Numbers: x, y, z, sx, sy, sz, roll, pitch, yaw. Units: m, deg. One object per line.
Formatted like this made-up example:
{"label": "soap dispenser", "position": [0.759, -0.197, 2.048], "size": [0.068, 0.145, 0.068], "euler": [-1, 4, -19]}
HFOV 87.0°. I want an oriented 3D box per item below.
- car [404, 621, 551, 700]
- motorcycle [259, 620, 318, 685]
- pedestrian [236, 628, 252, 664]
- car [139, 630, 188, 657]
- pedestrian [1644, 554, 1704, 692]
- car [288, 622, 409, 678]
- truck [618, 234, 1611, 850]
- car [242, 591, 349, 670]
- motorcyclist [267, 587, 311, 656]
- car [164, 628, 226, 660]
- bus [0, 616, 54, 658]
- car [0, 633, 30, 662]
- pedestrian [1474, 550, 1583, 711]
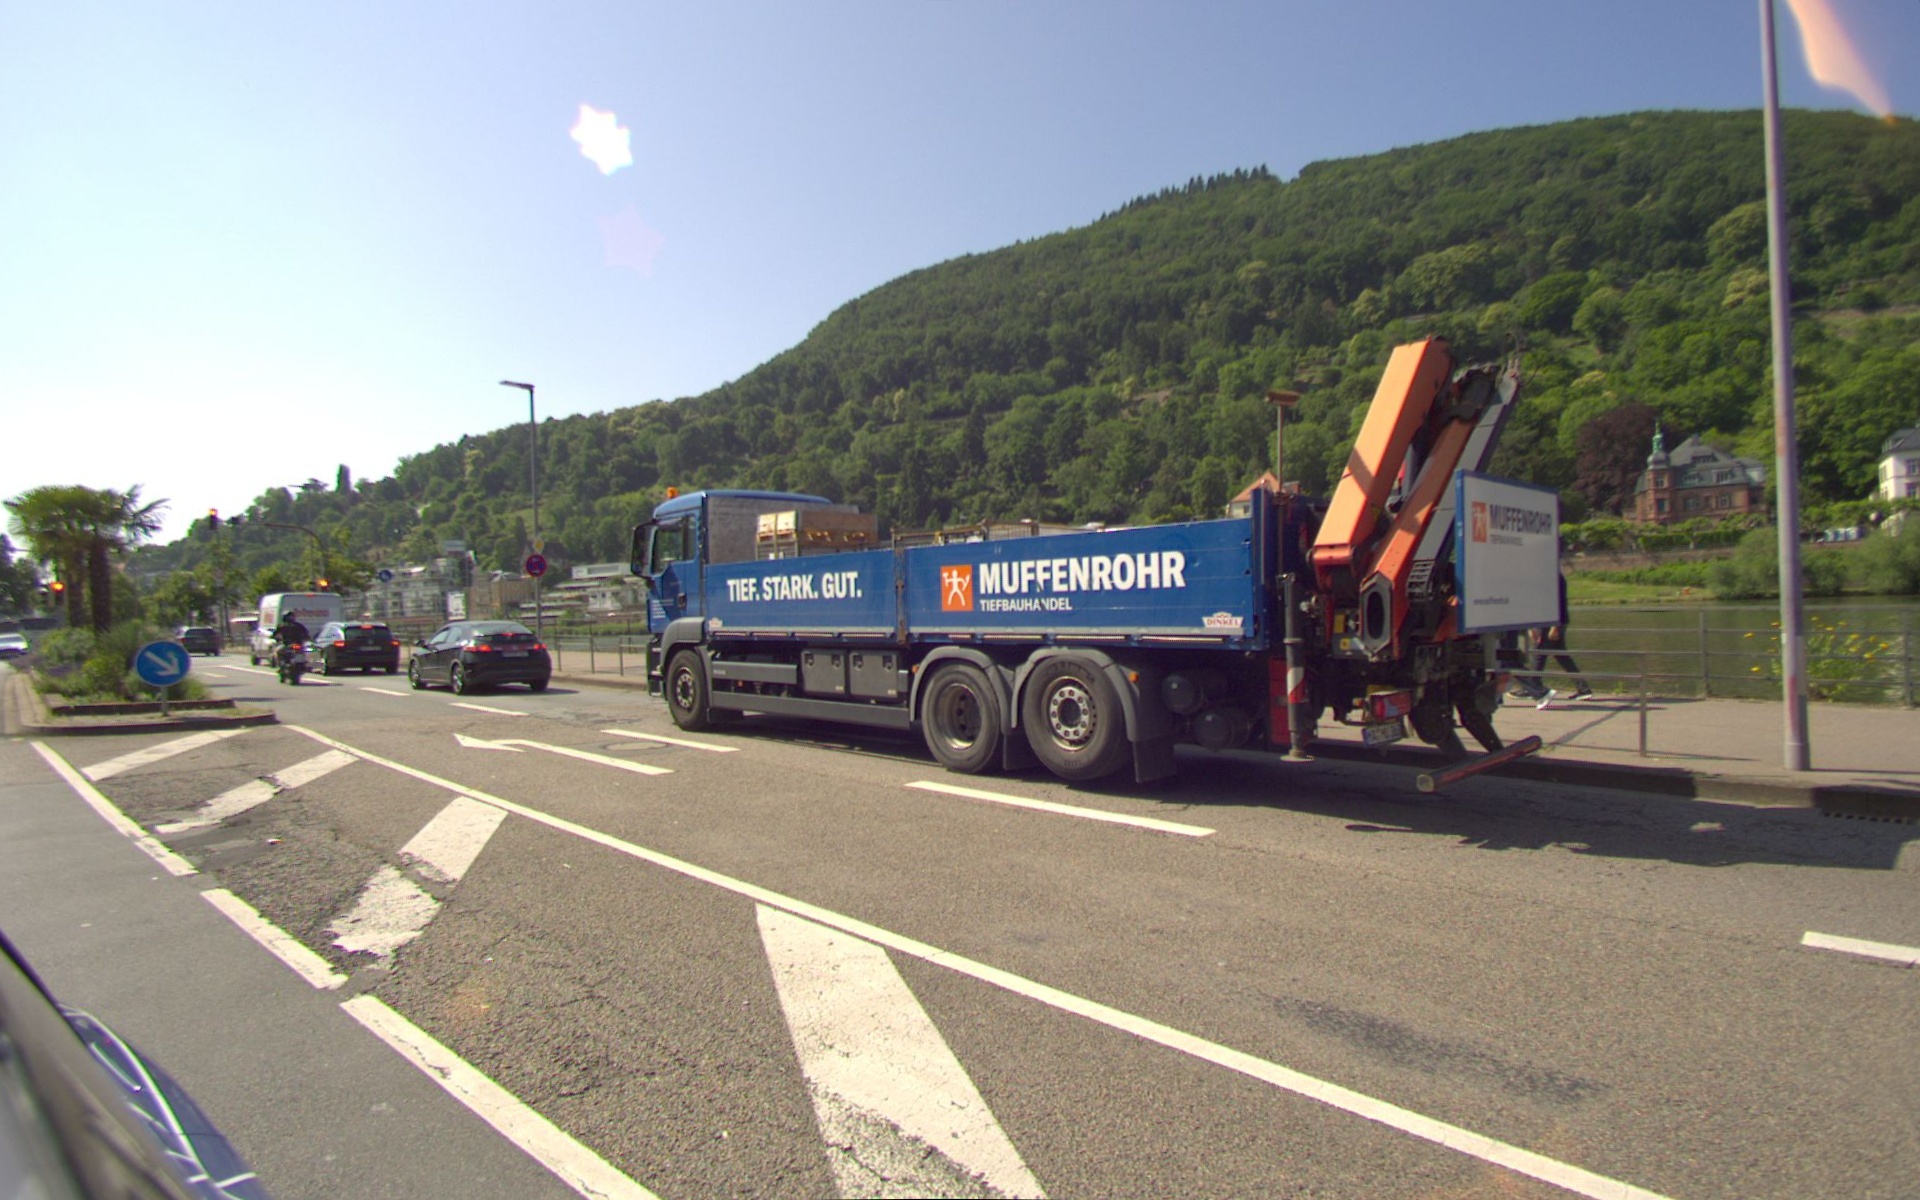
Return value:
{"label": "car", "position": [-10.106, 1.182, 21.036], "size": [1.637, 1.447, 4.085], "euler": [-1, -1, -42]}
{"label": "motorcycle", "position": [-15.259, 1.164, 22.969], "size": [0.717, 1.397, 2.514], "euler": [-1, -1, -42]}
{"label": "pedestrian", "position": [-36.189, 2.311, 51.165], "size": [0.503, 1.765, 0.585], "euler": [-2, -1, 43]}
{"label": "car", "position": [-46.864, 2.510, 59.514], "size": [1.970, 1.469, 4.648], "euler": [-1, -1, -42]}
{"label": "pedestrian", "position": [8.422, 0.256, 11.933], "size": [0.581, 1.569, 0.414], "euler": [-4, 1, -43]}
{"label": "car", "position": [-17.636, 1.384, 29.085], "size": [1.970, 1.429, 4.925], "euler": [-1, -1, -43]}
{"label": "truck", "position": [0.069, -0.218, 10.711], "size": [2.611, 3.503, 11.117], "euler": [-1, -1, -43]}
{"label": "car", "position": [-23.107, 1.075, 35.135], "size": [2.169, 2.545, 4.752], "euler": [3, -3, -44]}
{"label": "motorcyclist", "position": [-15.380, 0.494, 23.192], "size": [0.693, 1.538, 0.862], "euler": [-1, -1, -43]}
{"label": "car", "position": [-38.515, 2.182, 50.925], "size": [1.971, 1.463, 4.264], "euler": [-2, 0, -44]}
{"label": "bus", "position": [-81.128, 3.166, 87.203], "size": [10.778, 3.413, 2.624], "euler": [-2, -1, 38]}
{"label": "car", "position": [-52.796, 2.667, 55.943], "size": [1.970, 1.517, 4.596], "euler": [-1, -2, -42]}
{"label": "pedestrian", "position": [6.456, 0.330, 11.500], "size": [0.703, 1.719, 0.846], "euler": [-4, 1, -43]}
